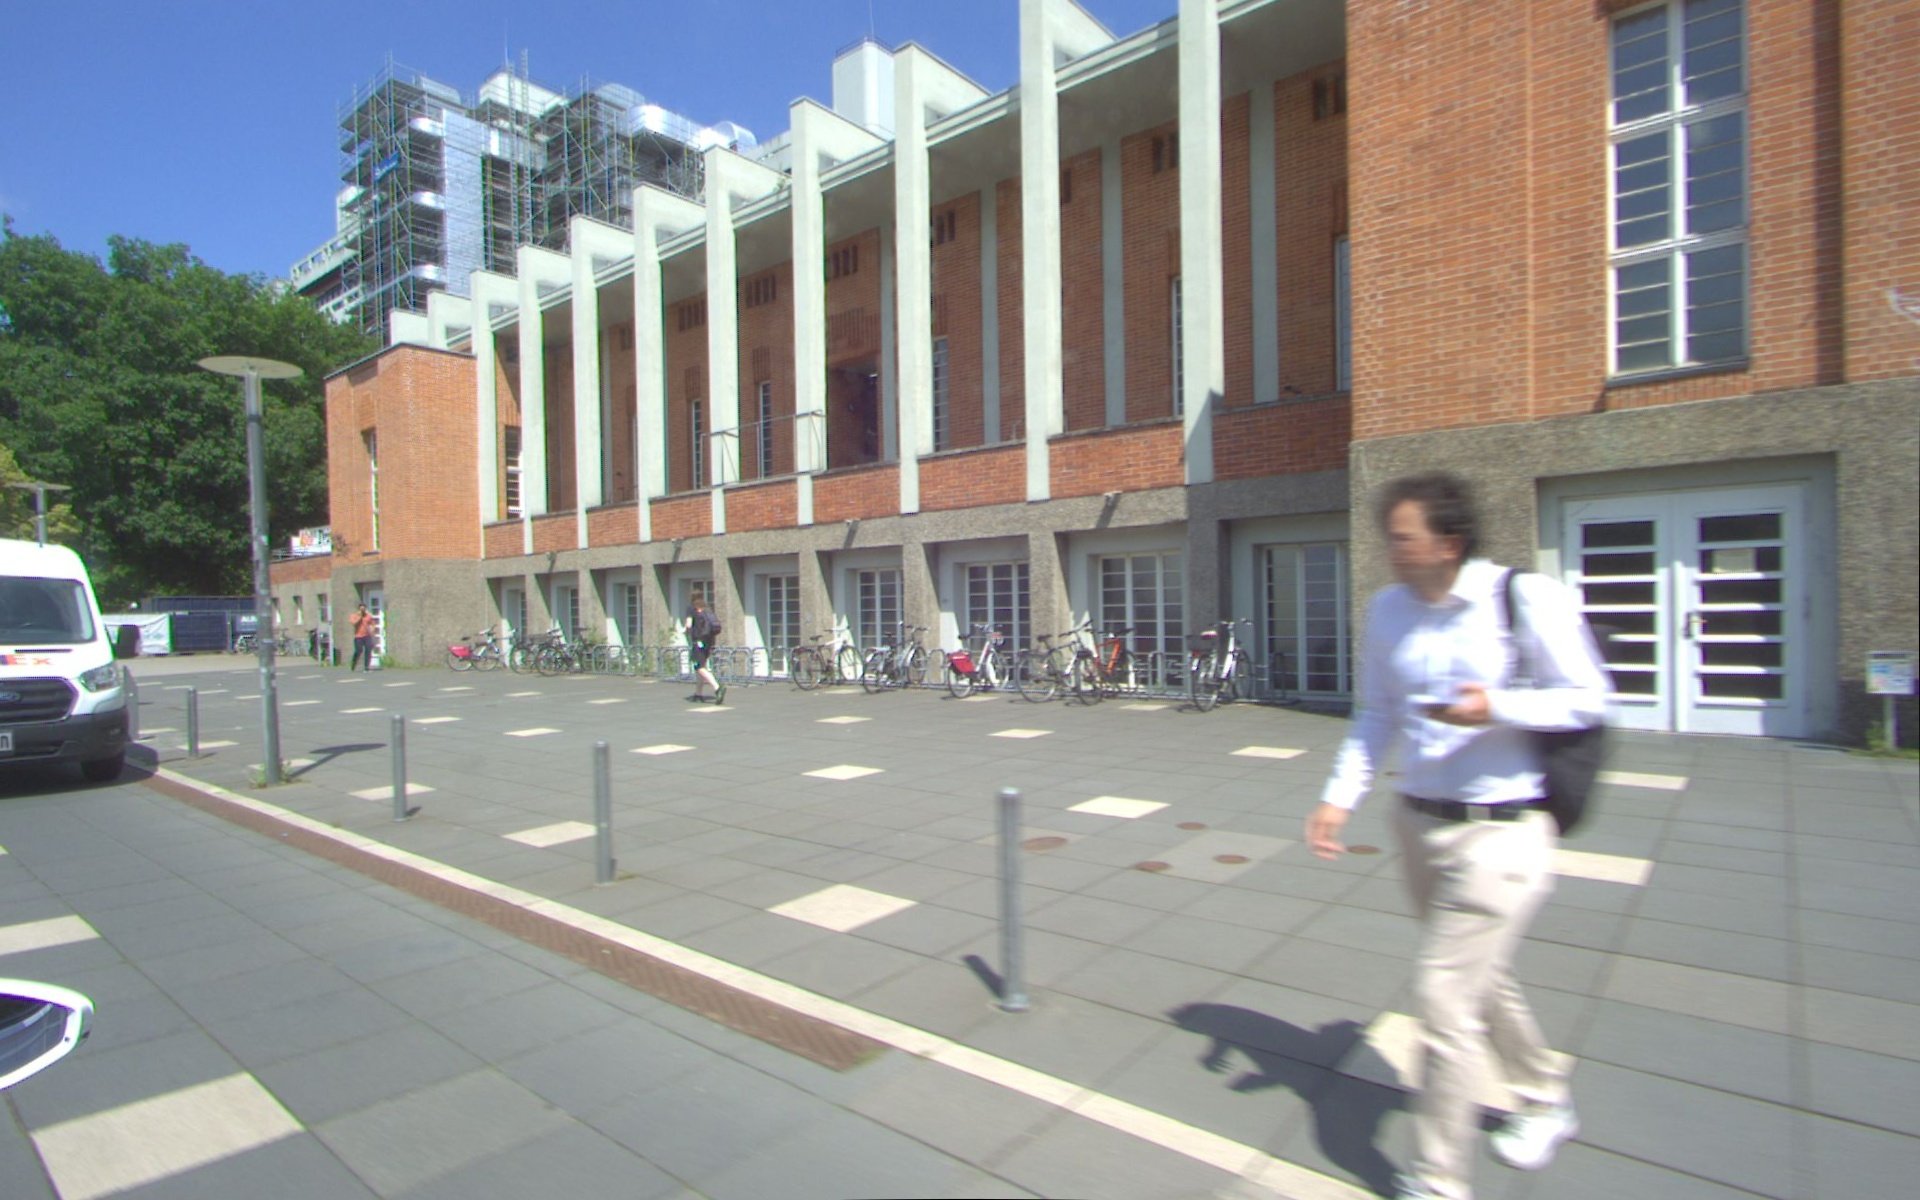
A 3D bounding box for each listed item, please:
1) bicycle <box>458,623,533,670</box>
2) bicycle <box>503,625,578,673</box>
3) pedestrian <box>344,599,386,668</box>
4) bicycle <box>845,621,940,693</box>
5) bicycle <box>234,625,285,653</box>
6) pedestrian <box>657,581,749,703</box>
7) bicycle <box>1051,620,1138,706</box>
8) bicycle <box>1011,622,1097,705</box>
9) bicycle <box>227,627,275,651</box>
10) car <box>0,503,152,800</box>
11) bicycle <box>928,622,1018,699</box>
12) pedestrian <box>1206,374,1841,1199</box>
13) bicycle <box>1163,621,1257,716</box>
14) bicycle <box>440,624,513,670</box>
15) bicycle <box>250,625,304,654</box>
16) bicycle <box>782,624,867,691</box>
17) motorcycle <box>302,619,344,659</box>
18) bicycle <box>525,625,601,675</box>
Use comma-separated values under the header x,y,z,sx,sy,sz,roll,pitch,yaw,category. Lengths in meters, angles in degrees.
x,y,z,sx,sy,sz,roll,pitch,yaw,category
-12.266,1.215,26.498,0.511,1.165,1.746,0,0,38,bicycle
-10.427,1.201,24.937,0.430,1.124,1.740,0,0,38,bicycle
-16.382,0.917,27.562,0.894,1.858,0.661,-1,0,35,pedestrian
-1.117,0.943,16.995,0.430,1.124,1.904,0,0,38,bicycle
-29.791,1.654,42.604,0.442,1.124,1.693,-1,0,40,bicycle
-4.086,0.653,15.928,1.181,1.858,0.841,-1,0,35,pedestrian
1.938,0.861,14.275,0.430,1.124,1.688,0,0,38,bicycle
1.404,0.899,14.710,0.430,1.124,1.644,0,0,38,bicycle
-31.377,1.729,44.337,0.442,1.016,1.664,-1,0,40,bicycle
-10.591,0.495,10.497,5.777,2.577,2.051,-1,0,38,car
0.234,0.922,15.819,0.430,1.124,1.790,0,0,38,bicycle
1.314,0.504,2.464,1.007,1.873,0.913,-2,2,-20,pedestrian
3.305,0.858,13.127,0.451,1.124,1.922,0,0,38,bicycle
-13.029,1.244,27.011,0.430,1.165,1.746,0,0,38,bicycle
-28.192,1.607,41.347,0.442,1.124,1.797,-1,0,40,bicycle
-2.416,1.005,18.022,0.430,1.124,1.676,0,0,38,bicycle
-22.412,1.365,35.218,2.195,1.341,0.692,-1,0,42,motorcycle
-9.427,1.172,23.818,0.430,1.124,1.676,0,0,38,bicycle
